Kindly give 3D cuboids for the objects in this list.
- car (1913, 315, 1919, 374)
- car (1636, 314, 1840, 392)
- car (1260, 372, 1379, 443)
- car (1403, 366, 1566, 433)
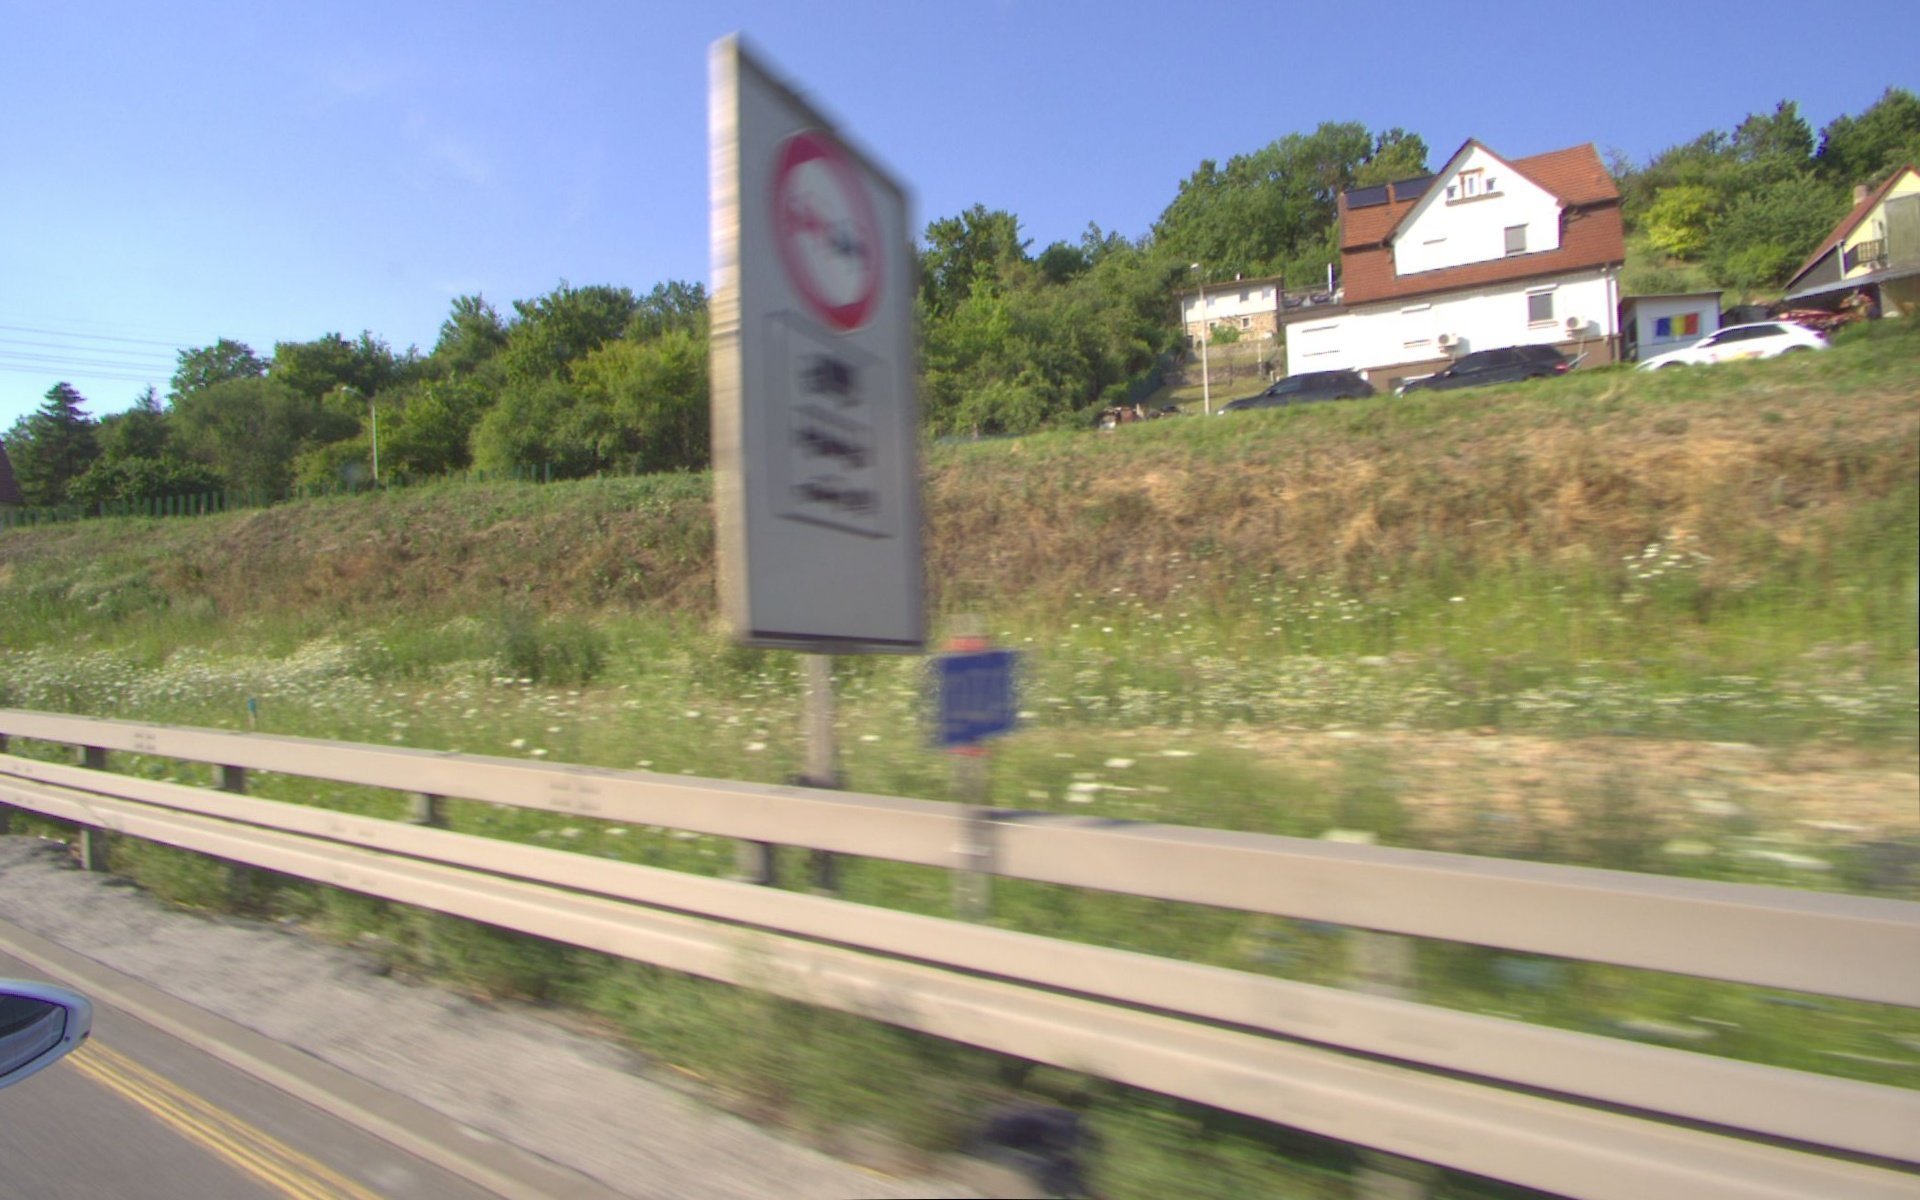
[{"bbox_3d":[24.359,-6.177,22.989,3.285,1.340,1.346,0,-2,20],"label":"car"},{"bbox_3d":[19.631,-6.222,25.442,3.834,1.248,1.345,-1,-2,23],"label":"car"},{"bbox_3d":[10.445,-5.545,29.086,3.179,1.476,1.359,-1,-2,24],"label":"car"},{"bbox_3d":[14.409,-5.493,27.690,3.833,1.248,1.346,0,-2,21],"label":"car"}]
